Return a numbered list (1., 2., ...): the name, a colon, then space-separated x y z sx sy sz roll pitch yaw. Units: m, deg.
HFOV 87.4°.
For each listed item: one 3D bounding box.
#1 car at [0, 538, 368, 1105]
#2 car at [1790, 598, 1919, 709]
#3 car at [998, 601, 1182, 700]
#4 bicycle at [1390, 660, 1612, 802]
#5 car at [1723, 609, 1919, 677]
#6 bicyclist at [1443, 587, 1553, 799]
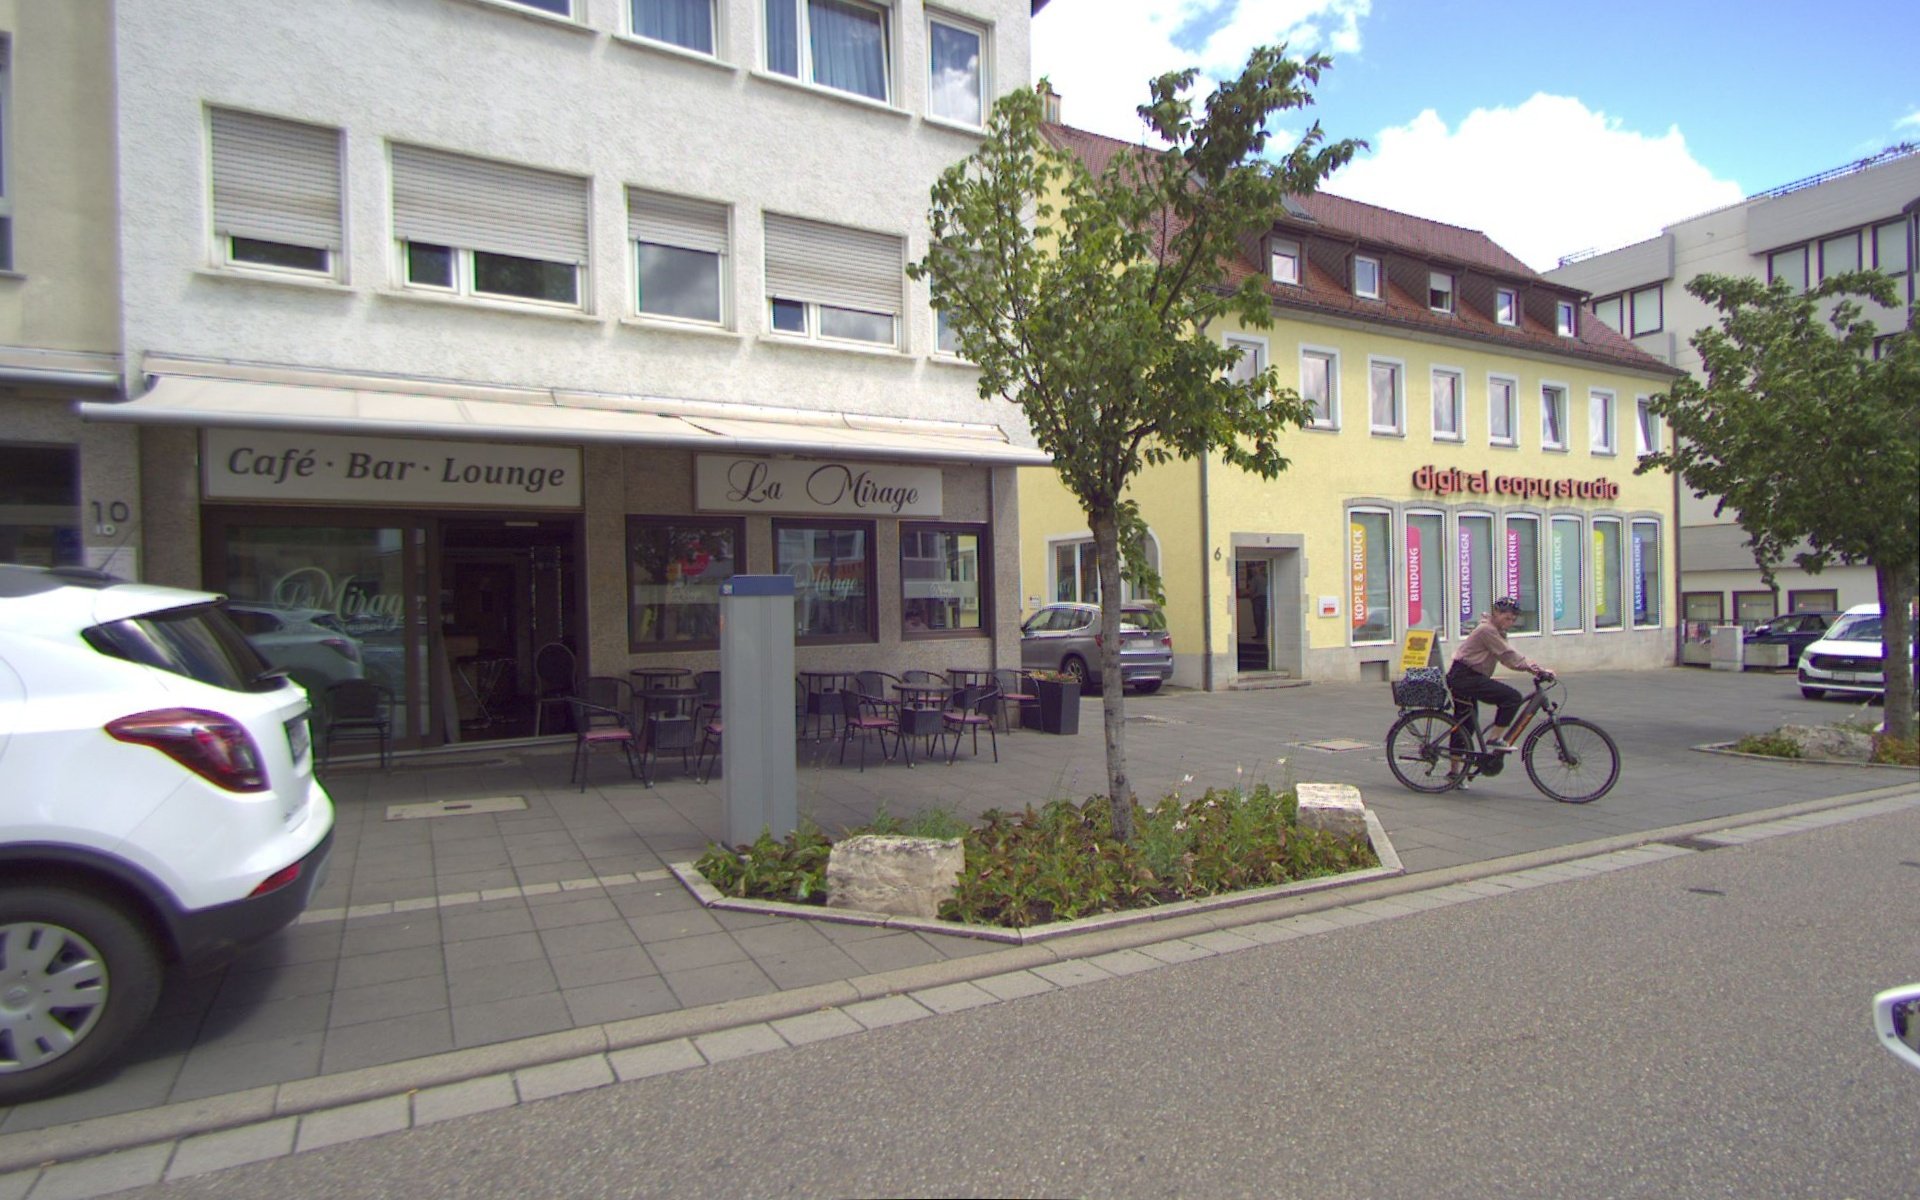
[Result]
1. car: -4.236 0.615 3.088 4.084 1.668 1.658 1 0 -30
2. car: 17.575 0.927 18.871 4.427 1.838 1.746 1 1 -32
3. car: 2.376 0.870 19.078 1.712 1.672 3.511 0 0 -30
4. bicycle: 4.537 1.074 8.538 1.622 1.102 0.413 -1 -2 24
5. car: 21.910 1.034 25.585 1.650 1.579 3.606 1 0 -33
6. bicyclist: 4.556 0.767 8.553 0.763 1.717 0.510 -1 -2 25
